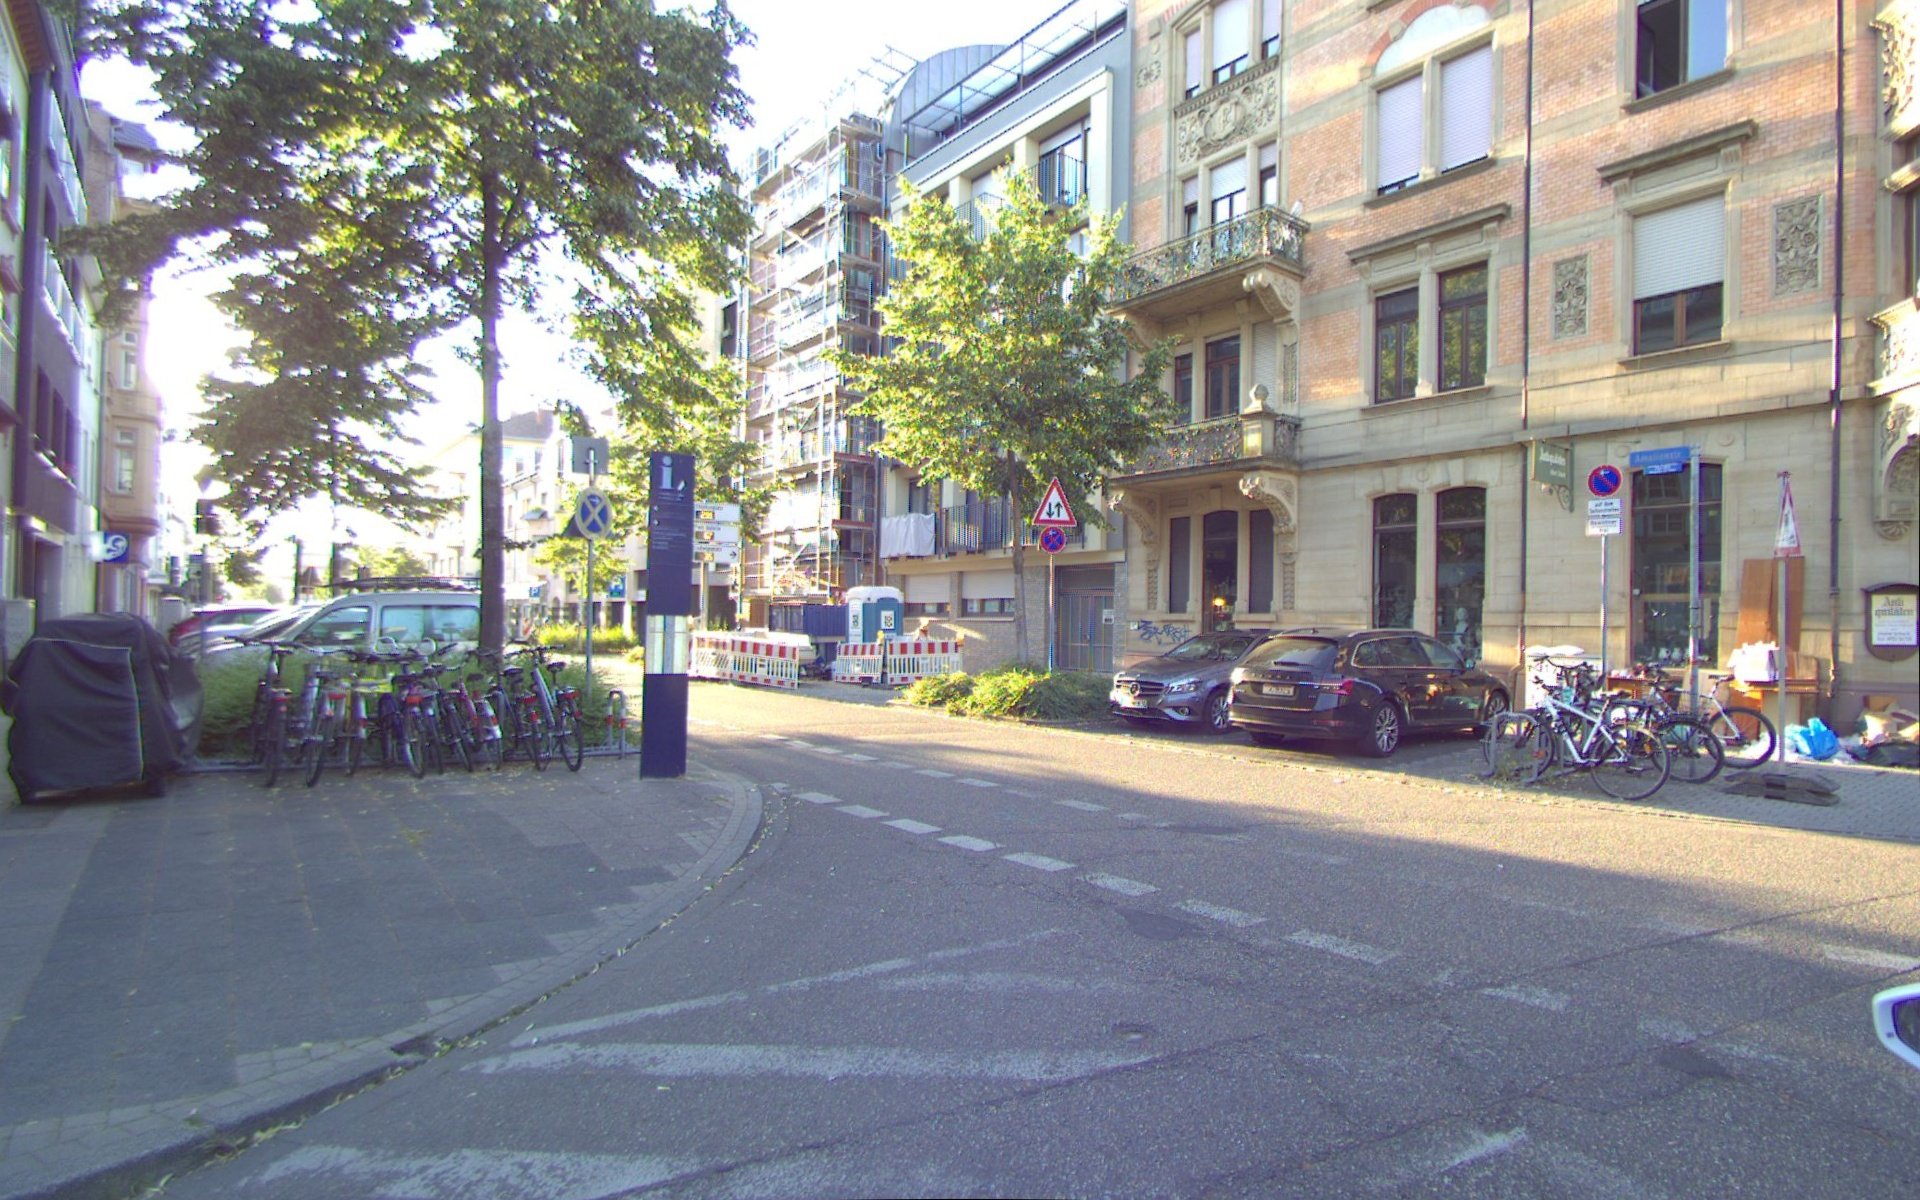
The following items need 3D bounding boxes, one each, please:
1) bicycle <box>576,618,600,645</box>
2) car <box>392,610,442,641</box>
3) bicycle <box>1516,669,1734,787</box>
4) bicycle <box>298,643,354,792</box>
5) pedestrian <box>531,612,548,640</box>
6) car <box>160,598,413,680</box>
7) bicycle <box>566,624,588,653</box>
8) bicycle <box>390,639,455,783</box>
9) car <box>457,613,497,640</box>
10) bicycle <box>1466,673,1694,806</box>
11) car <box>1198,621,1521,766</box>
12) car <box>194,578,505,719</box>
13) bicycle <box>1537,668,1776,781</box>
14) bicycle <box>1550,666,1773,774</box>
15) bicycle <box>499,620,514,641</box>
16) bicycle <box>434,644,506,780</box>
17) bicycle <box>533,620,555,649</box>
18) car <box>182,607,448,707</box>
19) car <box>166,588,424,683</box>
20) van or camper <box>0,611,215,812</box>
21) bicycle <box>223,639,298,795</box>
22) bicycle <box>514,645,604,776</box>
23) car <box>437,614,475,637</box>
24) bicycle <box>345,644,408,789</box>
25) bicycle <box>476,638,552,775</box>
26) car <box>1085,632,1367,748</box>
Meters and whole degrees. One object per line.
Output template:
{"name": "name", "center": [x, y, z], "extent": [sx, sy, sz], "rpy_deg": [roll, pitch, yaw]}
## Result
{"name": "bicycle", "center": [-15.812, 1.332, 42.725], "extent": [0.380, 1.114, 1.503], "rpy_deg": [2, -2, -43]}
{"name": "car", "center": [-32.739, 1.533, 60.515], "extent": [1.983, 1.676, 4.626], "rpy_deg": [5, -3, -36]}
{"name": "bicycle", "center": [6.921, 1.287, 10.541], "extent": [0.634, 1.027, 1.812], "rpy_deg": [2, -1, -37]}
{"name": "bicycle", "center": [-5.276, 0.919, 8.334], "extent": [0.320, 1.096, 1.581], "rpy_deg": [2, -2, -34]}
{"name": "pedestrian", "center": [-25.488, 1.594, 60.901], "extent": [0.805, 1.668, 0.600], "rpy_deg": [0, -1, -37]}
{"name": "car", "center": [-13.885, 0.812, 20.853], "extent": [4.188, 1.536, 1.742], "rpy_deg": [2, -2, -40]}
{"name": "bicycle", "center": [-16.723, 1.677, 43.790], "extent": [0.380, 1.205, 1.505], "rpy_deg": [3, -3, -40]}
{"name": "bicycle", "center": [-4.783, 0.931, 8.907], "extent": [0.310, 1.163, 1.597], "rpy_deg": [2, -3, -34]}
{"name": "car", "center": [-29.507, 1.596, 61.310], "extent": [1.624, 1.574, 2.664], "rpy_deg": [1, -1, -39]}
{"name": "bicycle", "center": [5.931, 1.287, 9.716], "extent": [0.565, 1.061, 1.815], "rpy_deg": [1, -1, -34]}
{"name": "car", "center": [5.315, 1.063, 13.111], "extent": [4.499, 1.531, 1.891], "rpy_deg": [0, -1, -37]}
{"name": "car", "center": [-9.053, 0.708, 15.126], "extent": [3.783, 1.874, 1.684], "rpy_deg": [2, -2, -34]}
{"name": "bicycle", "center": [7.633, 1.316, 11.115], "extent": [0.634, 1.027, 2.088], "rpy_deg": [2, -1, -37]}
{"name": "bicycle", "center": [8.085, 1.341, 11.688], "extent": [0.461, 1.054, 2.088], "rpy_deg": [2, -1, -37]}
{"name": "bicycle", "center": [-27.788, 1.835, 61.500], "extent": [0.395, 1.251, 1.805], "rpy_deg": [1, -1, -39]}
{"name": "bicycle", "center": [-4.490, 0.978, 9.160], "extent": [0.317, 1.096, 1.581], "rpy_deg": [4, -3, -34]}
{"name": "bicycle", "center": [-16.825, 1.390, 40.574], "extent": [0.380, 1.114, 1.506], "rpy_deg": [2, -2, -39]}
{"name": "car", "center": [-10.838, 0.930, 17.122], "extent": [3.621, 1.535, 1.635], "rpy_deg": [2, -1, -32]}
{"name": "car", "center": [-12.317, 0.712, 18.821], "extent": [3.799, 1.606, 1.725], "rpy_deg": [3, -3, -34]}
{"name": "van or camper", "center": [-6.188, 0.745, 7.380], "extent": [0.934, 1.276, 1.829], "rpy_deg": [3, -3, -32]}
{"name": "bicycle", "center": [-5.601, 0.888, 8.077], "extent": [0.392, 1.096, 1.581], "rpy_deg": [4, -3, -34]}
{"name": "bicycle", "center": [-3.885, 1.017, 9.664], "extent": [0.392, 1.122, 1.696], "rpy_deg": [4, -3, -34]}
{"name": "car", "center": [-33.513, 1.682, 66.733], "extent": [1.624, 1.443, 3.718], "rpy_deg": [1, -2, -37]}
{"name": "bicycle", "center": [-5.002, 0.939, 8.578], "extent": [0.338, 1.096, 1.581], "rpy_deg": [2, -2, -34]}
{"name": "bicycle", "center": [-4.224, 0.959, 9.464], "extent": [0.328, 1.155, 1.581], "rpy_deg": [4, -3, -34]}
{"name": "car", "center": [4.172, 1.258, 15.422], "extent": [4.499, 1.499, 1.848], "rpy_deg": [1, -1, -37]}
